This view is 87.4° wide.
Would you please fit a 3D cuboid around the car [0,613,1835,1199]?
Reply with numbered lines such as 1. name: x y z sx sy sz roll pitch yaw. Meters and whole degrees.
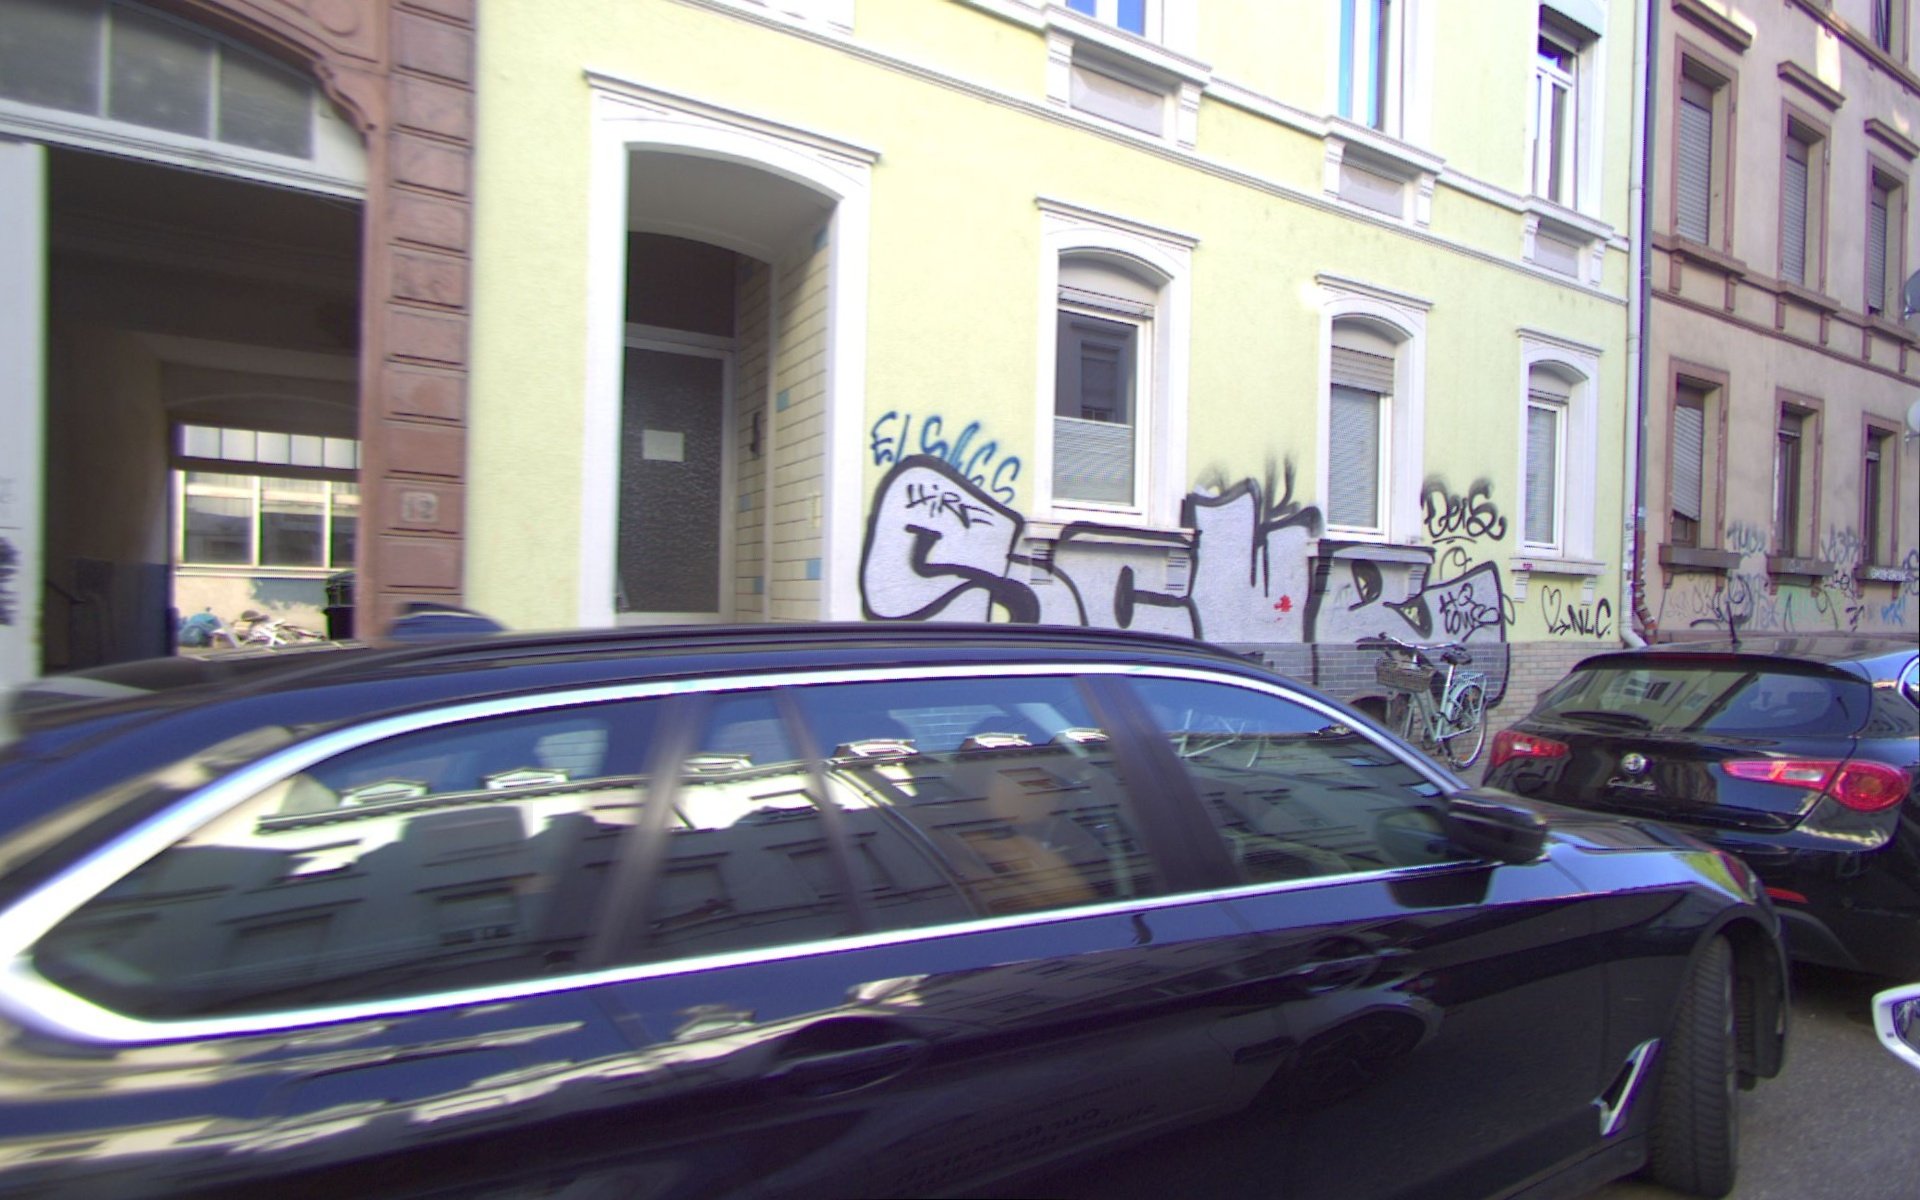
1. car: 0.102 0.770 2.456 4.593 1.459 1.852 1 0 -32

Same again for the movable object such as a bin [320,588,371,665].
1. movable object such as a bin: -9.766 0.407 15.982 0.660 1.172 0.711 1 1 -30

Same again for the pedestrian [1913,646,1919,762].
1. pedestrian: 10.091 0.719 9.976 0.745 1.842 0.648 1 2 -29

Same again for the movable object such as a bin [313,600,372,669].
1. movable object such as a bin: -8.587 0.473 13.982 0.660 0.908 0.711 1 1 -30

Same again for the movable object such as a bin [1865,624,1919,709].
1. movable object such as a bin: 12.699 0.883 13.296 0.747 1.039 0.786 1 4 -28

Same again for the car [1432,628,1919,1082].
1. car: 4.387 0.888 5.037 3.953 1.446 1.728 1 -1 -30

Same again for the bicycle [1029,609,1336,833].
1. bicycle: 1.506 0.724 6.643 2.062 1.288 0.670 1 0 -30

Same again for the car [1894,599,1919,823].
1. car: 9.453 0.859 8.044 3.953 1.720 1.793 1 -3 -30

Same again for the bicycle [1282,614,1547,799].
1. bicycle: 3.639 0.777 7.961 2.300 1.262 0.664 1 3 -31

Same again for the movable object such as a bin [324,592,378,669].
1. movable object such as a bin: -9.122 0.441 15.060 0.660 1.102 0.711 1 1 -30
